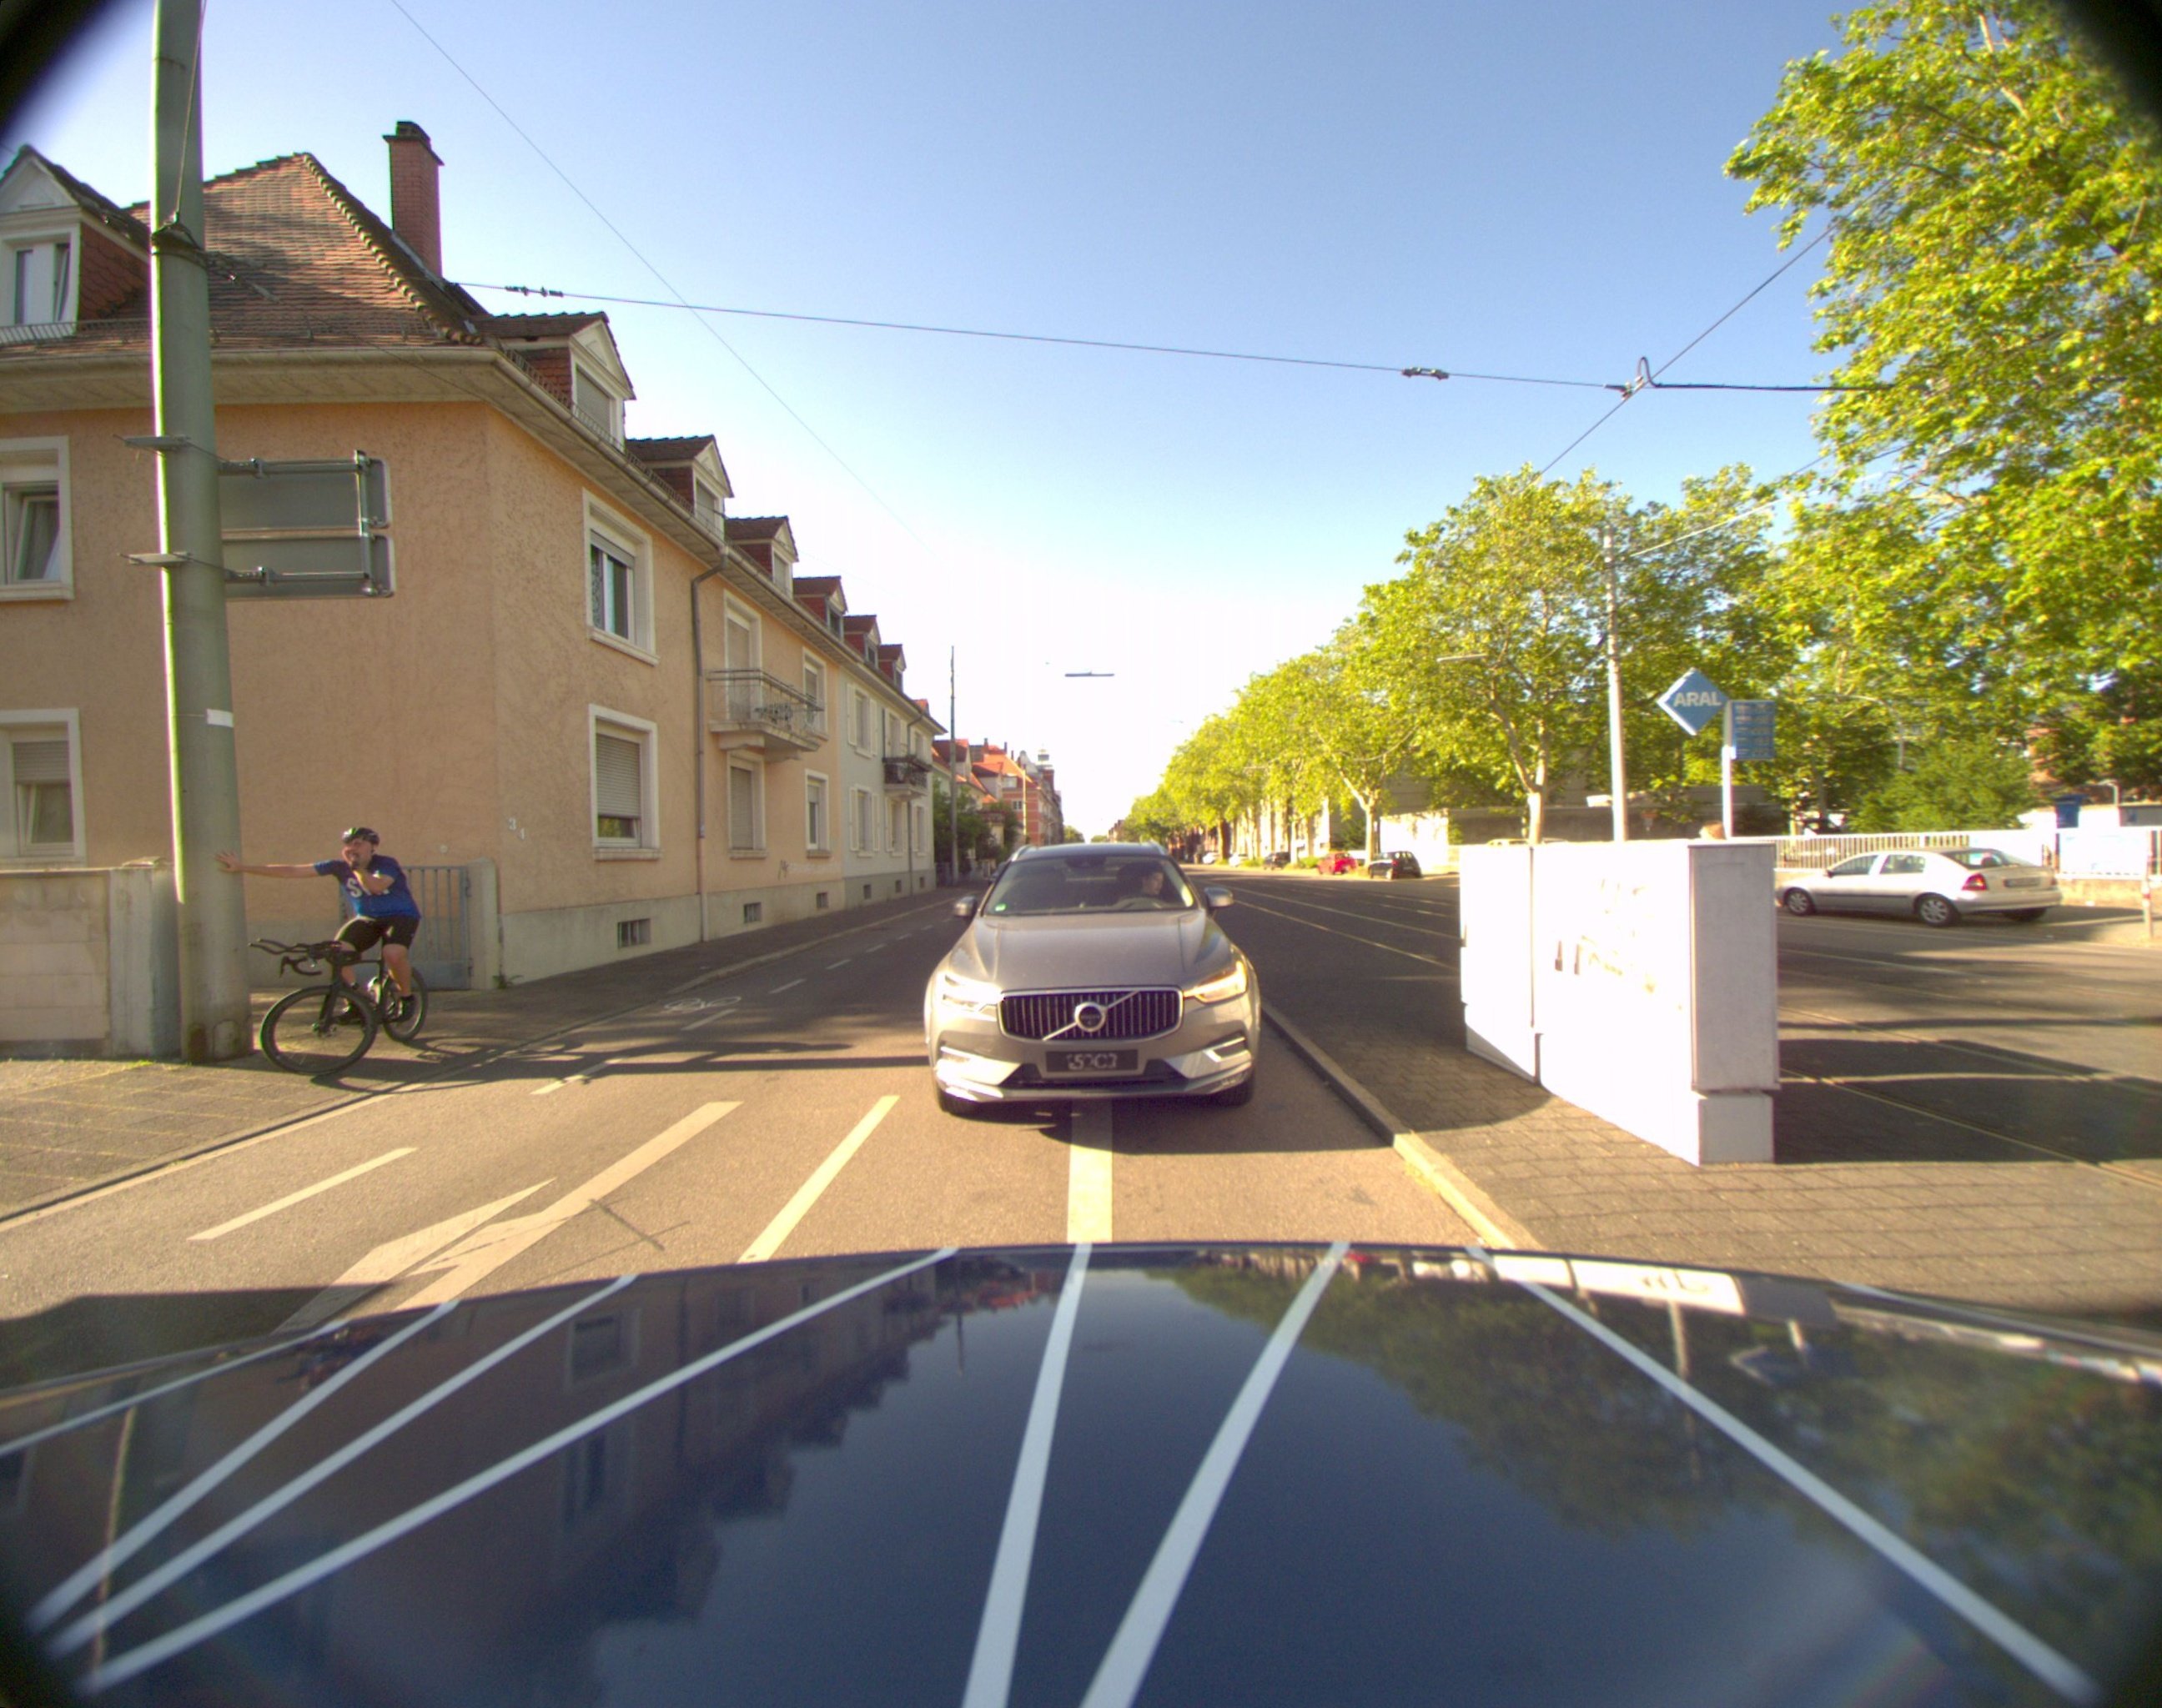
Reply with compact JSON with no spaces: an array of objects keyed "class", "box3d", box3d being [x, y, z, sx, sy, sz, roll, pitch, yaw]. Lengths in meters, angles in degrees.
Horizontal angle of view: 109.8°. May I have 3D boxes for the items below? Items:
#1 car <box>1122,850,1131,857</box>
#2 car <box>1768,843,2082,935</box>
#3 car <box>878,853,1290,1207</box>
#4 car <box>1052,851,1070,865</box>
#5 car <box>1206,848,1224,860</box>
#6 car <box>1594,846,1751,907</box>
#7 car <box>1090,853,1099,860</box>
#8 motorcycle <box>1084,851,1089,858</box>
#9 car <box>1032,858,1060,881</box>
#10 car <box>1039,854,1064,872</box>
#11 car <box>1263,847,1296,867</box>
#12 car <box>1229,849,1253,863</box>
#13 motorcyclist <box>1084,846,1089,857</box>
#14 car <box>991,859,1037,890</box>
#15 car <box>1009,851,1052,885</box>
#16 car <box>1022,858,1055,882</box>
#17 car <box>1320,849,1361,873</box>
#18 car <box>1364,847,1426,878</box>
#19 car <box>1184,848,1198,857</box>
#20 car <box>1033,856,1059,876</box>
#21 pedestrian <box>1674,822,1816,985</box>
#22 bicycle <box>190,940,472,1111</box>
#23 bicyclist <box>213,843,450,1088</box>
[{"class":"car","box3d":[10.972,-0.171,183.478,1.998,1.652,4.000,-1,0,1]},{"class":"car","box3d":[16.246,0.596,14.995,1.795,1.455,3.966,-4,0,2]},{"class":"car","box3d":[0.042,0.849,5.805,1.940,1.650,4.321,-1,0,1]},{"class":"car","box3d":[-2.205,0.442,85.494,1.875,1.477,4.000,-1,0,1]},{"class":"car","box3d":[17.732,-0.018,100.675,1.802,1.504,4.000,-1,0,1]},{"class":"car","box3d":[16.431,0.574,21.343,1.692,1.455,3.519,-4,0,2]},{"class":"car","box3d":[3.328,0.632,188.578,1.998,1.543,4.000,-1,0,1]},{"class":"motorcycle","box3d":[0.896,0.066,123.063,0.792,1.095,2.519,0,0,1]},{"class":"car","box3d":[-2.467,1.079,54.443,1.785,1.468,4.000,-1,0,1]},{"class":"car","box3d":[-2.562,0.761,66.832,1.875,1.477,4.000,-1,0,1]},{"class":"car","box3d":[17.194,0.282,66.045,1.802,1.652,4.000,-1,0,1]},{"class":"car","box3d":[17.545,0.216,83.430,1.802,1.489,4.000,-1,0,1]},{"class":"motorcyclist","box3d":[0.867,-0.429,123.146,0.827,1.832,1.159,-2,1,1]},{"class":"car","box3d":[-3.211,0.960,37.029,1.647,1.357,3.868,-1,0,4]},{"class":"car","box3d":[-2.789,0.711,42.888,1.751,1.767,5.351,-1,0,3]},{"class":"car","box3d":[-2.684,0.986,48.307,1.785,1.346,4.000,-1,0,1]},{"class":"car","box3d":[16.943,0.431,49.753,1.641,1.499,3.046,-1,0,1]},{"class":"car","box3d":[16.882,0.419,40.984,1.826,1.521,3.653,-2,0,1]},{"class":"car","box3d":[18.194,-0.229,125.632,1.802,1.504,4.000,-1,0,1]},{"class":"car","box3d":[-2.752,0.939,60.679,1.785,1.468,4.000,-1,0,1]},{"class":"pedestrian","box3d":[7.270,0.503,8.333,0.696,1.652,1.095,-3,2,-44]},{"class":"bicycle","box3d":[-5.942,1.299,6.179,0.572,0.986,1.698,2,0,1]},{"class":"bicyclist","box3d":[-6.147,0.859,6.294,1.076,1.854,0.846,2,1,1]}]
